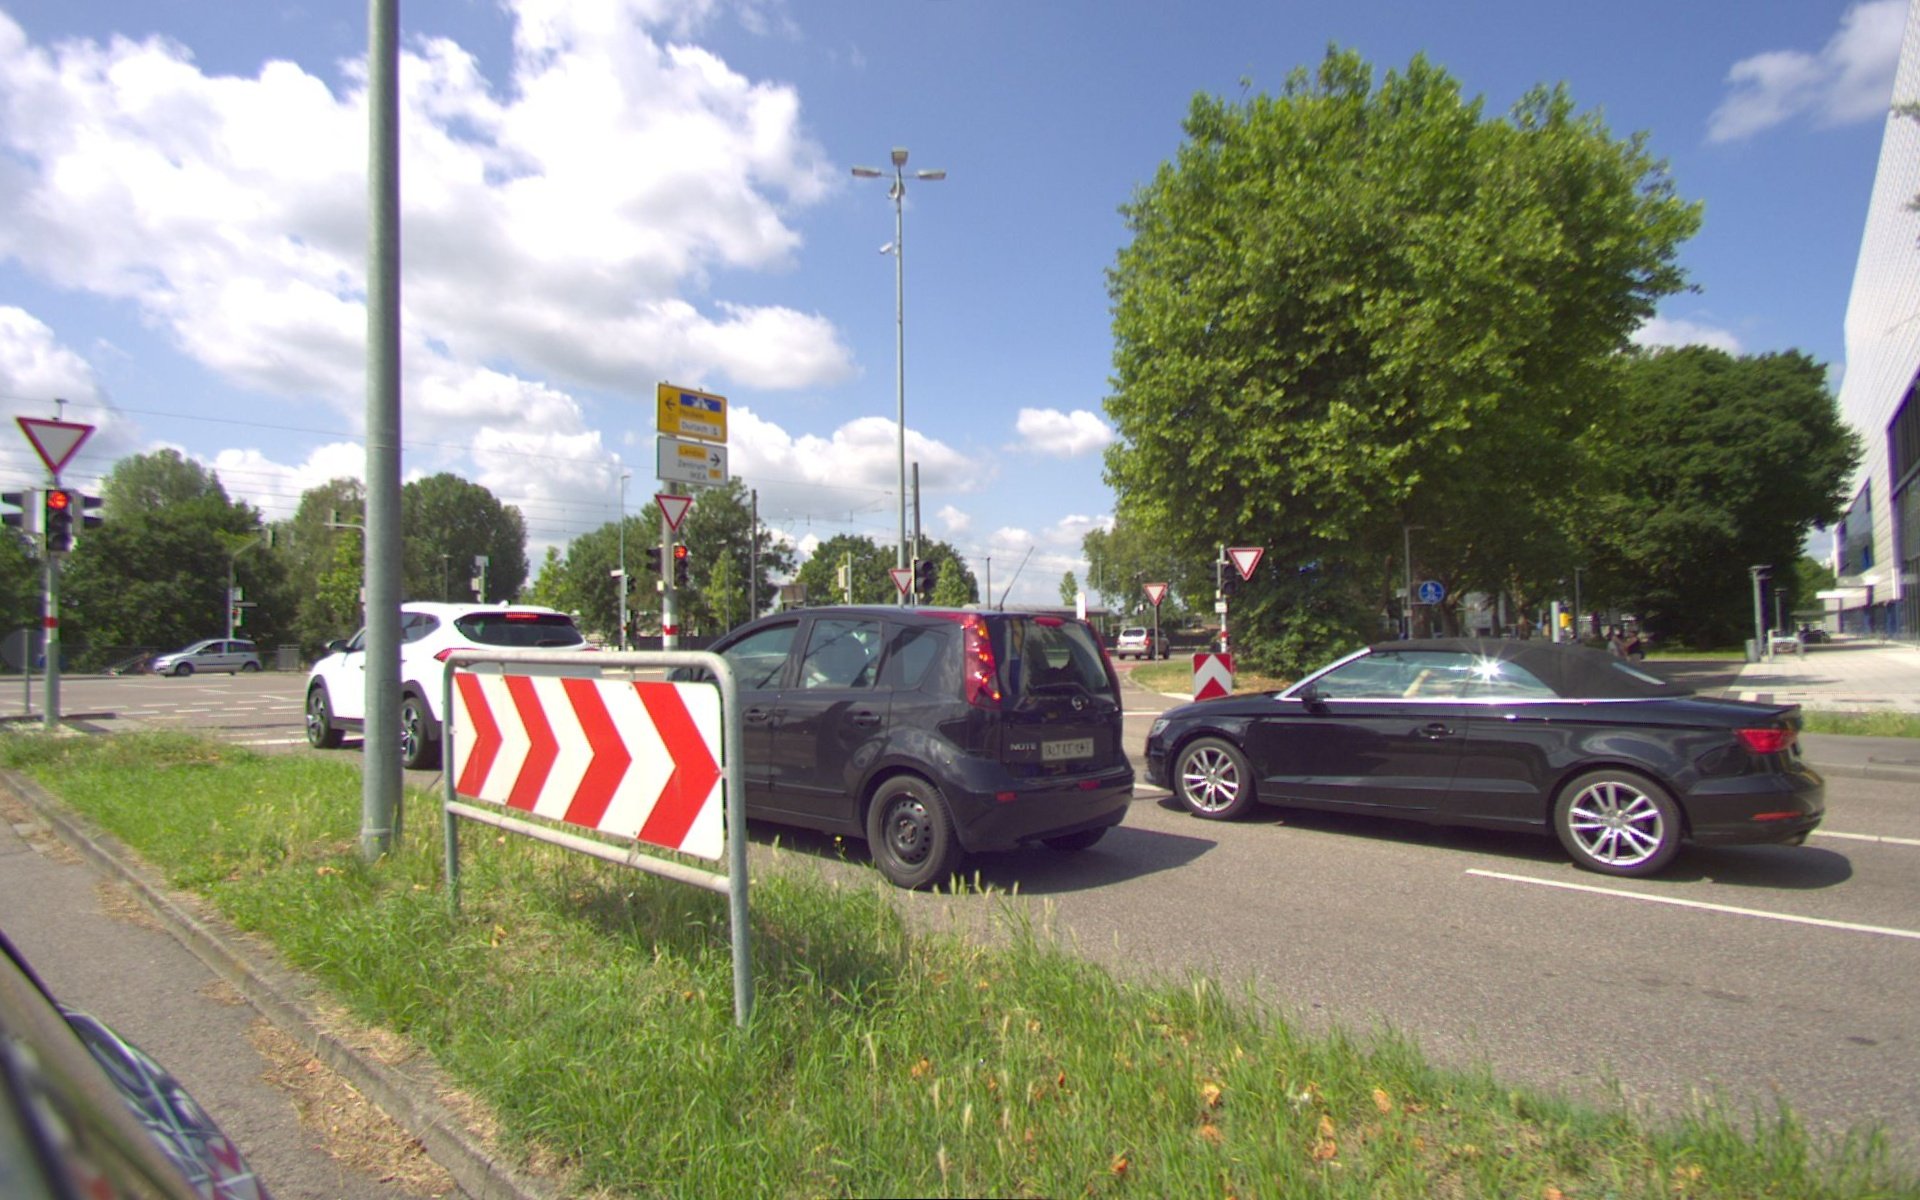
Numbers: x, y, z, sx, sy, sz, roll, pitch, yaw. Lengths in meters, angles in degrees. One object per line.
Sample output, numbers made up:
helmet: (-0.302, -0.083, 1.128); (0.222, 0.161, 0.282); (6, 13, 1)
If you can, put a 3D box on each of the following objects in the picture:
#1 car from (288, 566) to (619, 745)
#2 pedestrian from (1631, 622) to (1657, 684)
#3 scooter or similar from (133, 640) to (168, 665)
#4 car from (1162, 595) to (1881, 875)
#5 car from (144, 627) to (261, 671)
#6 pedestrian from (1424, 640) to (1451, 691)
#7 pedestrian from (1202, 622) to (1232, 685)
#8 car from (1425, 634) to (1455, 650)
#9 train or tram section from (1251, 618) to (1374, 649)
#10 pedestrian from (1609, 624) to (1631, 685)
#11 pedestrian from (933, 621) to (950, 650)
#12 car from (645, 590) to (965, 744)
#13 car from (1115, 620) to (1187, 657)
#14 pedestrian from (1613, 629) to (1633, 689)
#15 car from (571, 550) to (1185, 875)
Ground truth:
car: (-5.778, 0.560, 11.294); (4.375, 1.632, 1.690); (-1, -3, 41)
pedestrian: (19.313, 1.494, 28.577); (0.515, 1.716, 0.405); (-3, -2, 35)
scooter or similar: (-37.724, 2.448, 47.163); (0.343, 1.107, 1.234); (-3, -2, 38)
car: (3.548, 0.748, 6.985); (4.094, 1.402, 1.396); (-1, -4, 42)
car: (-30.754, 1.959, 41.143); (1.698, 1.466, 3.449); (1, 2, 36)
pedestrian: (12.936, 1.770, 27.410); (0.538, 1.334, 0.485); (-1, -2, 42)
pedestrian: (6.235, 1.292, 24.556); (0.616, 1.502, 0.435); (-1, -2, 25)
car: (48.878, 4.238, 103.066); (1.997, 1.608, 3.950); (-2, -3, 37)
train or tram section: (39.648, 3.861, 112.385); (4.526, 3.055, 24.794); (-2, -4, 39)
pedestrian: (18.855, 1.544, 28.899); (0.449, 1.716, 0.399); (-3, -2, 35)
pedestrian: (-1.138, 2.198, 62.497); (0.760, 1.722, 0.782); (-2, -4, 36)
car: (-2.033, 0.755, 12.673); (3.998, 1.628, 1.752); (0, -3, 41)
car: (9.795, 1.954, 51.752); (2.018, 1.737, 4.200); (-3, -2, 35)
pedestrian: (19.286, 1.712, 29.452); (0.409, 1.716, 0.522); (-3, -2, 32)
car: (-0.758, 0.590, 6.665); (4.130, 1.505, 1.587); (-1, -4, 41)
